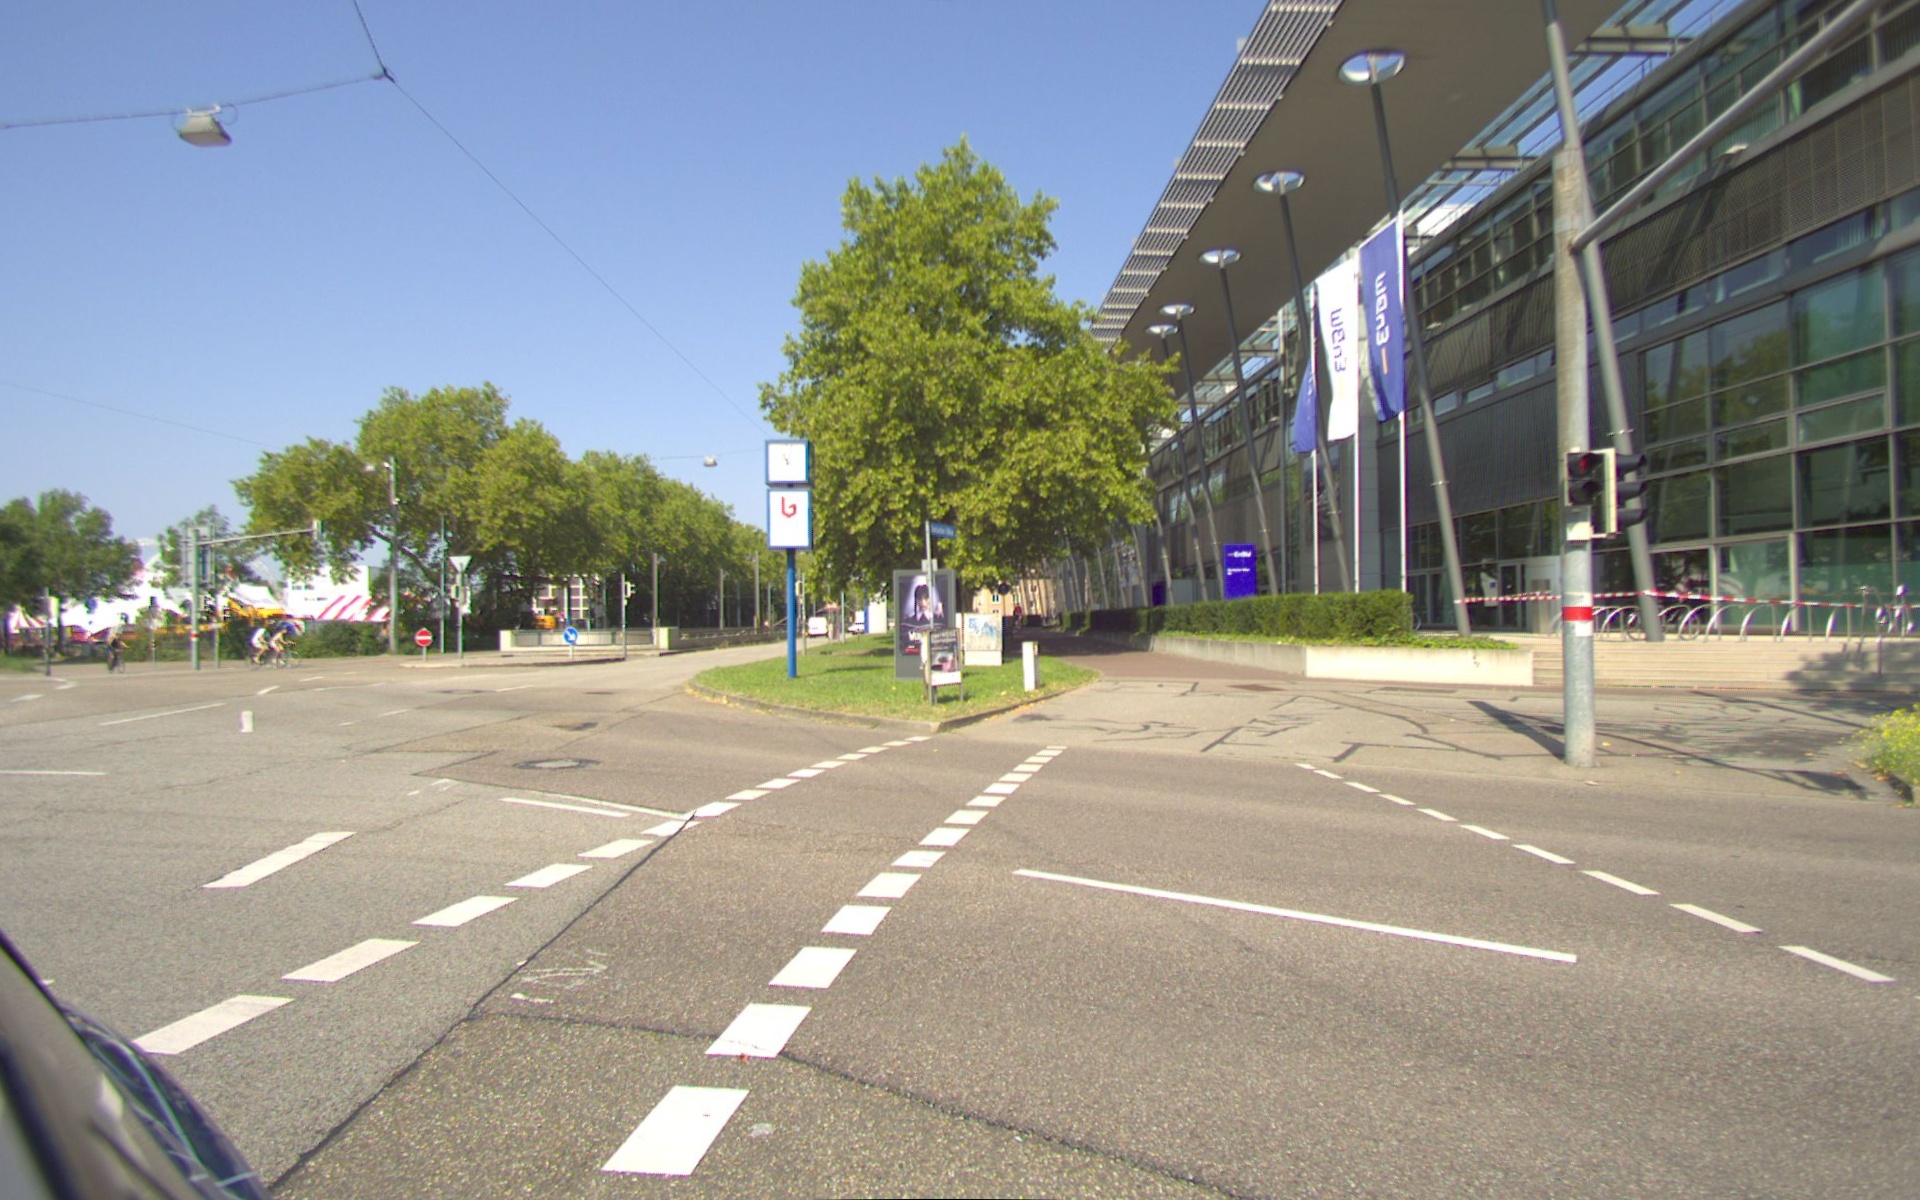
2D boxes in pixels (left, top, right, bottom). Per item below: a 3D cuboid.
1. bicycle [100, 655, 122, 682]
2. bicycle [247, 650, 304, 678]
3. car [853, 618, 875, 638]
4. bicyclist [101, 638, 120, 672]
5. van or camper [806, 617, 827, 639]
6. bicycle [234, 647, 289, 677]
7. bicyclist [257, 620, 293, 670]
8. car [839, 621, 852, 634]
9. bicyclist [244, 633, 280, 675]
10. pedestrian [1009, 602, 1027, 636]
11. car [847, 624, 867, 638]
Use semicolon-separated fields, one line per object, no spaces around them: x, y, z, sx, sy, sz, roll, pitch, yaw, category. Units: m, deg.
-35.917;2.901;42.809;0.563;1.064;1.497;-2;-2;-35;bicycle
-29.233;2.727;43.202;2.243;1.096;0.768;-3;-4;17;bicycle
-11.205;3.261;118.007;2.259;2.250;4.659;-4;-1;-3;car
-36.029;2.329;42.932;0.494;1.375;0.698;-3;-2;-34;bicyclist
-13.724;2.623;96.764;1.818;1.962;4.955;-1;0;-6;van or camper
-28.200;2.504;40.855;2.206;1.096;0.767;-4;-2;23;bicycle
-29.241;1.921;43.185;1.195;2.029;0.594;-4;-2;18;bicyclist
-19.325;4.720;171.014;1.969;2.029;4.006;-4;-1;-7;car
-28.156;2.170;40.819;1.197;1.606;0.593;-4;-2;23;bicyclist
3.654;1.207;63.714;0.936;2.029;1.349;-4;-1;0;pedestrian
-11.443;3.454;112.661;1.971;1.464;4.002;-4;-1;-3;car
